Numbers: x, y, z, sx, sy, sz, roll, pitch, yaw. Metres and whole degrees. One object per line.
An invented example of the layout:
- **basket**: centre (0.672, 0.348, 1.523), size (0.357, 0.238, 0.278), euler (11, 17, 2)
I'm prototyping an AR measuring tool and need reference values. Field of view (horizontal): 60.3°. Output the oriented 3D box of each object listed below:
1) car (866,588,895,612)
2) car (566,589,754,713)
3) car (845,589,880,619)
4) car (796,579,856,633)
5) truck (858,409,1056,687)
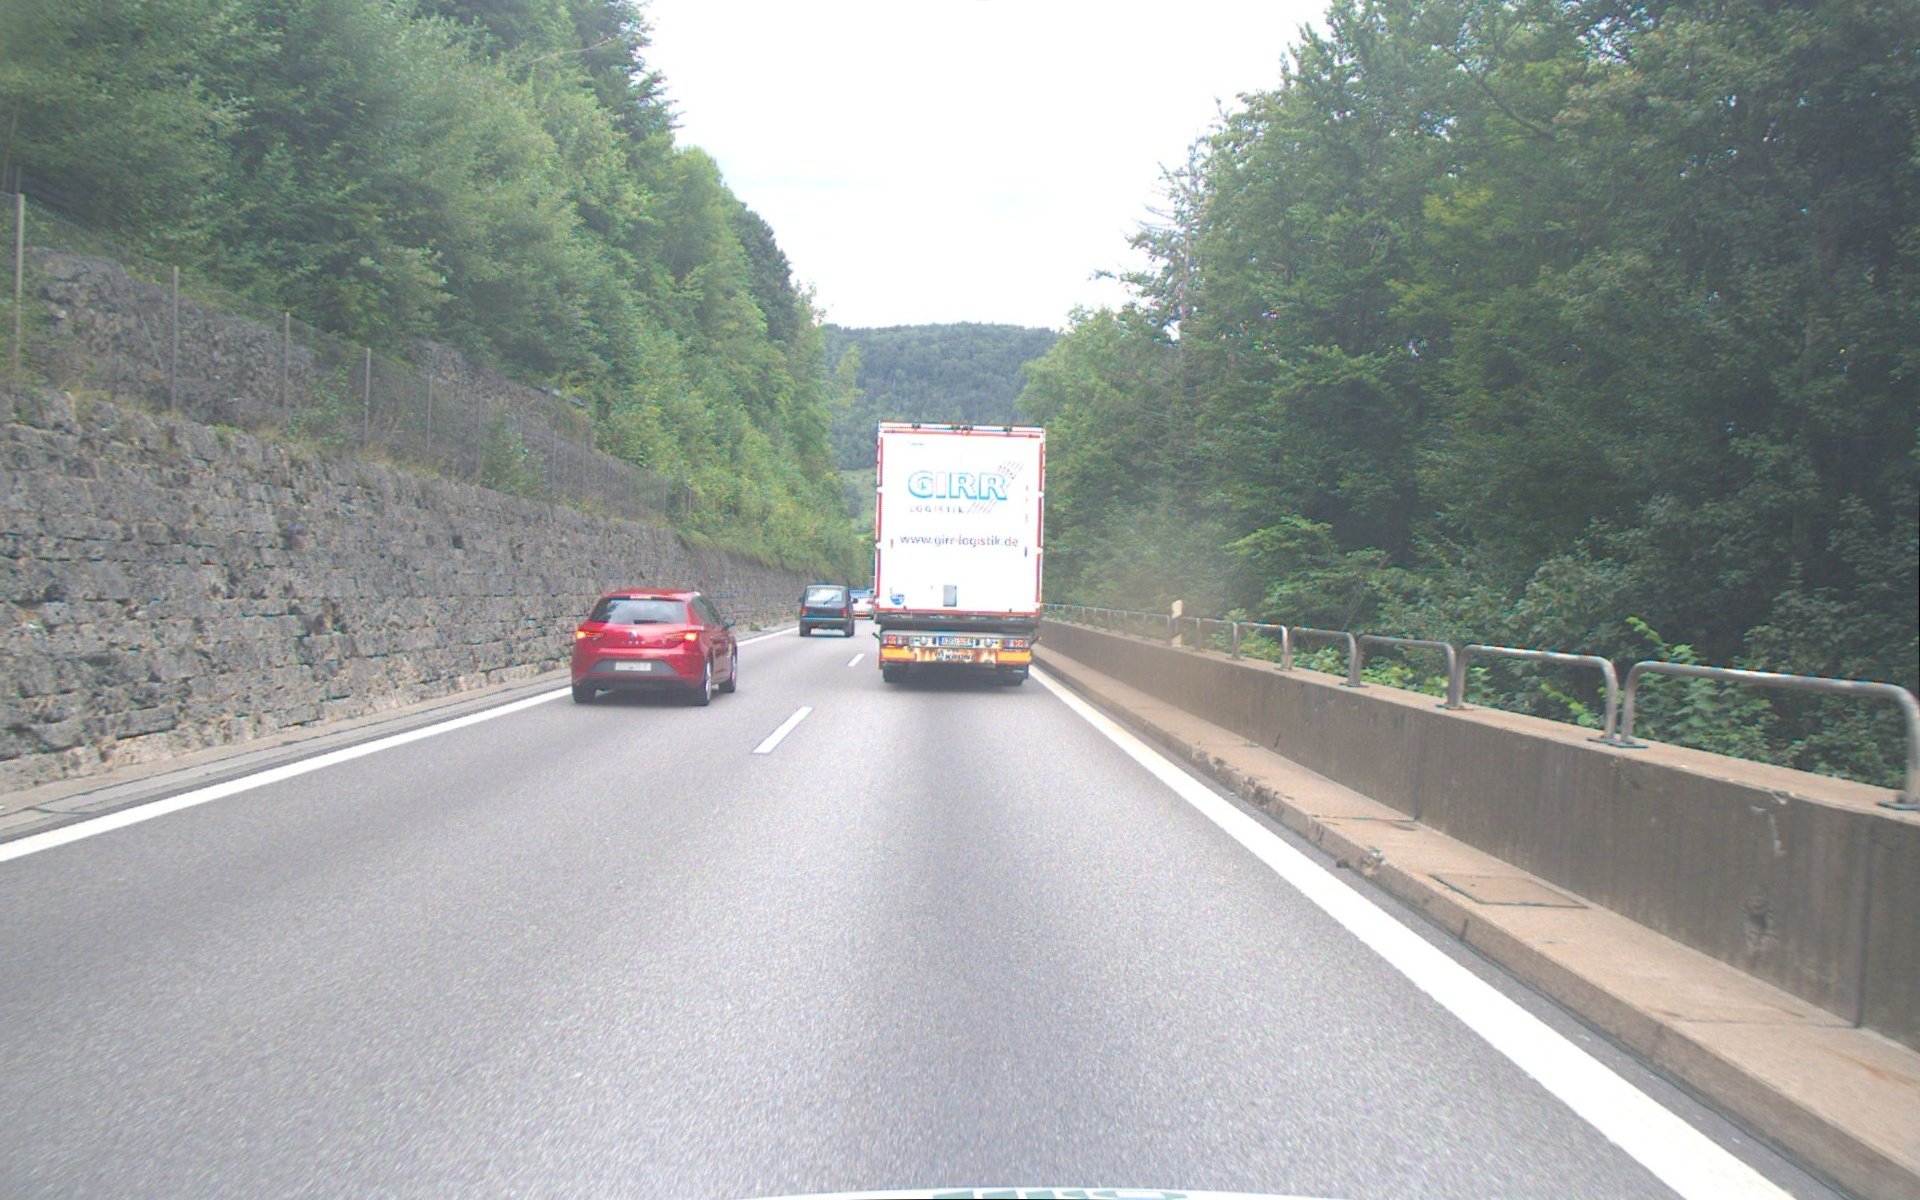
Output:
- **car**: centre (-5.520, -0.001, 114.804), size (1.878, 1.623, 4.178), euler (0, 0, -1)
- **car**: centre (-3.909, 0.632, 22.235), size (1.730, 1.485, 4.410), euler (0, 0, 0)
- **car**: centre (-5.084, 0.195, 86.685), size (1.694, 1.512, 3.999), euler (0, 0, -1)
- **car**: centre (-4.305, 0.207, 53.458), size (1.635, 1.667, 4.067), euler (0, 0, -1)
- **truck**: centre (-0.050, -0.750, 28.730), size (2.849, 4.030, 9.278), euler (1, 0, 0)
